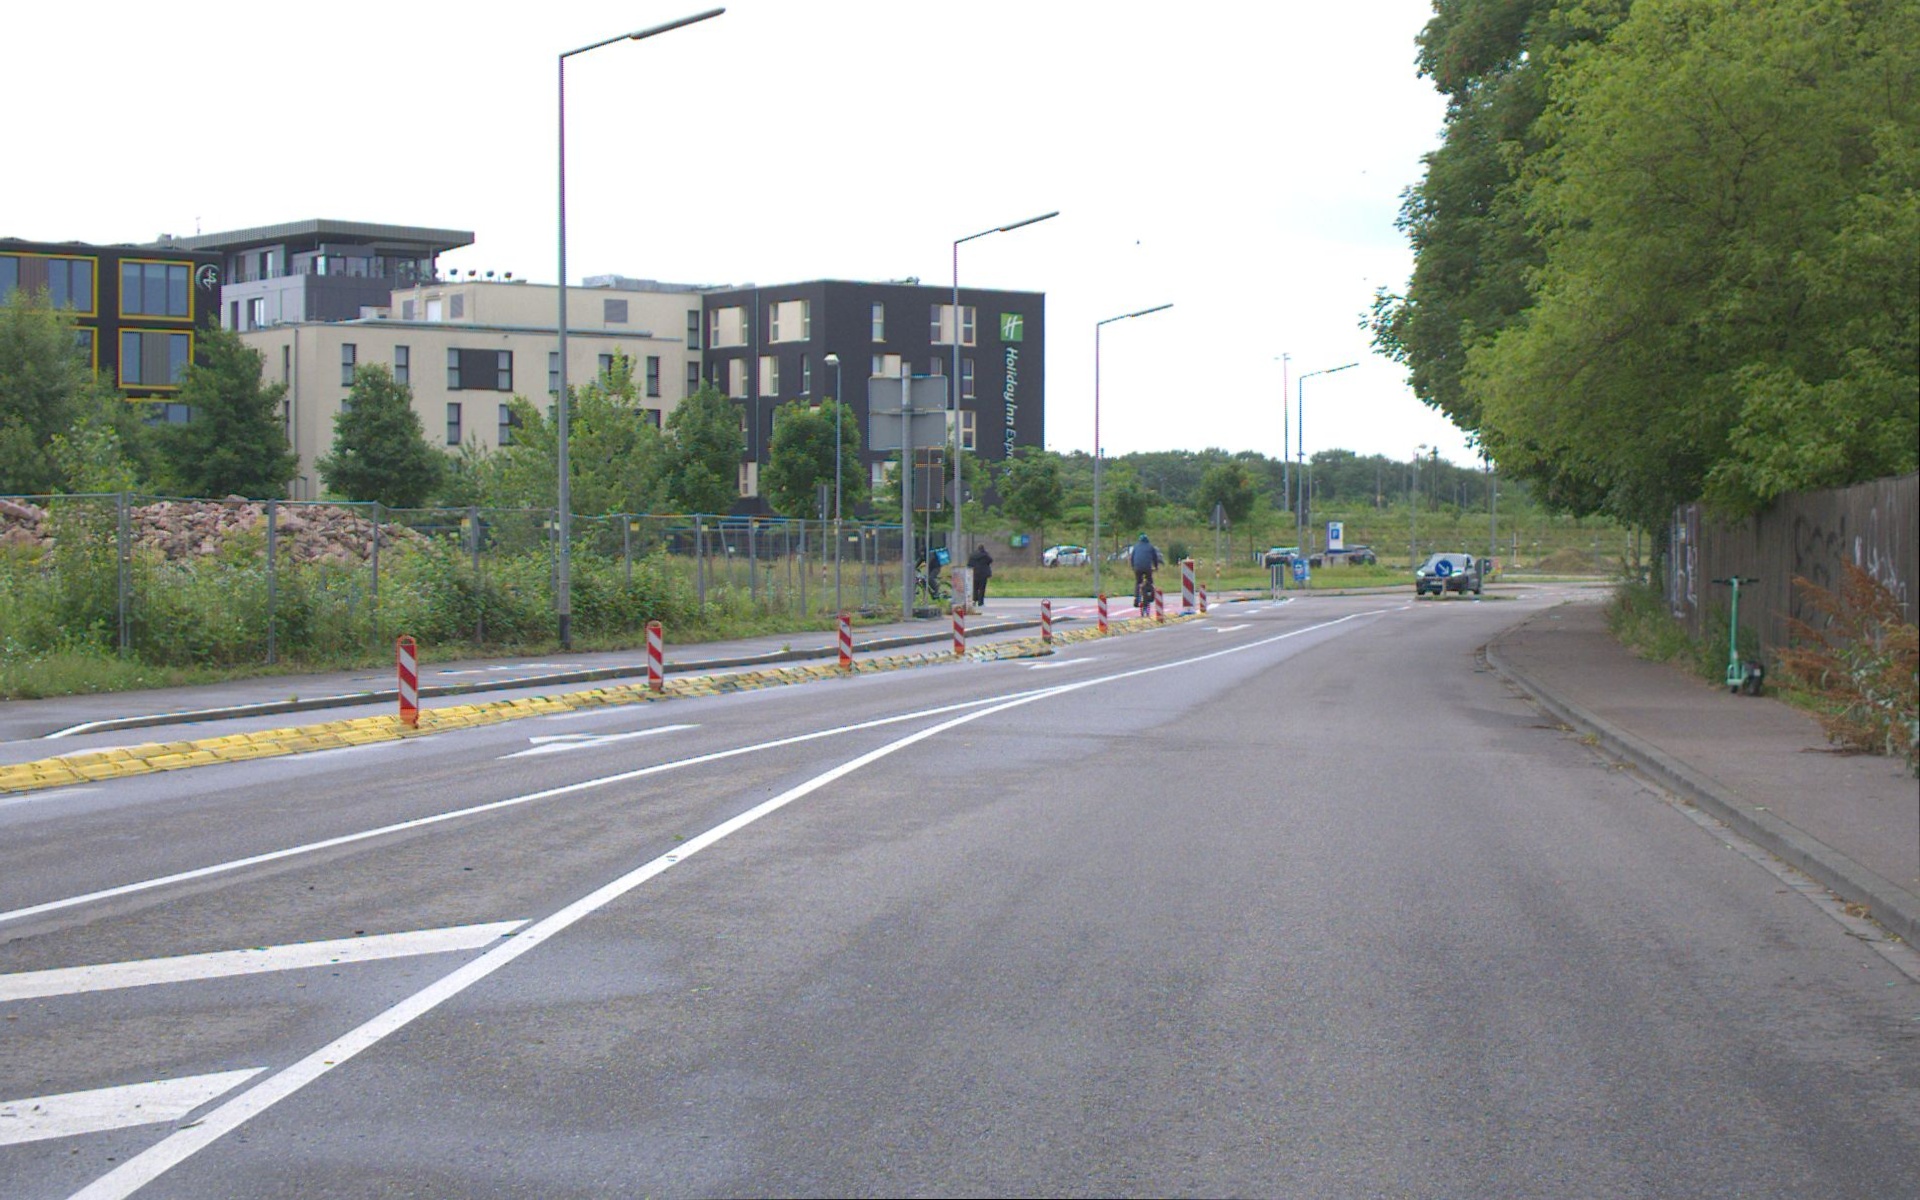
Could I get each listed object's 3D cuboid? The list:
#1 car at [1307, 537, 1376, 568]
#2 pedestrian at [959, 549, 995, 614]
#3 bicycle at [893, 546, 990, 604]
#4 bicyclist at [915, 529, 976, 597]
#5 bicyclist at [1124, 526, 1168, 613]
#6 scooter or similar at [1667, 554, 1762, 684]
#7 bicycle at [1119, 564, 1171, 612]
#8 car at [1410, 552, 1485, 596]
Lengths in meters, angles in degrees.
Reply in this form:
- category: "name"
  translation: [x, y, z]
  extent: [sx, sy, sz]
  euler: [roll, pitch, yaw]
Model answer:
- category: "car"
  translation: [23.387, -2.918, 210.824]
  extent: [1.994, 1.816, 3.999]
  euler: [-1, 2, -36]
- category: "pedestrian"
  translation: [0.472, -0.516, 94.396]
  extent: [0.844, 1.776, 1.077]
  euler: [0, 2, 8]
- category: "bicycle"
  translation: [-0.527, -0.713, 96.157]
  extent: [2.491, 1.578, 1.087]
  euler: [-1, 2, -23]
- category: "bicyclist"
  translation: [-0.404, -1.040, 96.200]
  extent: [1.397, 1.892, 1.077]
  euler: [-1, 2, -24]
- category: "bicyclist"
  translation: [4.310, -0.719, 79.812]
  extent: [0.862, 2.007, 1.177]
  euler: [0, 2, 11]
- category: "scooter or similar"
  translation: [8.064, 0.179, 36.801]
  extent: [0.691, 1.308, 2.353]
  euler: [0, 2, 5]
- category: "bicycle"
  translation: [4.304, -0.298, 79.778]
  extent: [0.884, 1.049, 2.468]
  euler: [0, 2, 11]
- category: "car"
  translation: [18.389, -1.001, 129.524]
  extent: [1.883, 1.561, 4.354]
  euler: [1, 2, 20]
